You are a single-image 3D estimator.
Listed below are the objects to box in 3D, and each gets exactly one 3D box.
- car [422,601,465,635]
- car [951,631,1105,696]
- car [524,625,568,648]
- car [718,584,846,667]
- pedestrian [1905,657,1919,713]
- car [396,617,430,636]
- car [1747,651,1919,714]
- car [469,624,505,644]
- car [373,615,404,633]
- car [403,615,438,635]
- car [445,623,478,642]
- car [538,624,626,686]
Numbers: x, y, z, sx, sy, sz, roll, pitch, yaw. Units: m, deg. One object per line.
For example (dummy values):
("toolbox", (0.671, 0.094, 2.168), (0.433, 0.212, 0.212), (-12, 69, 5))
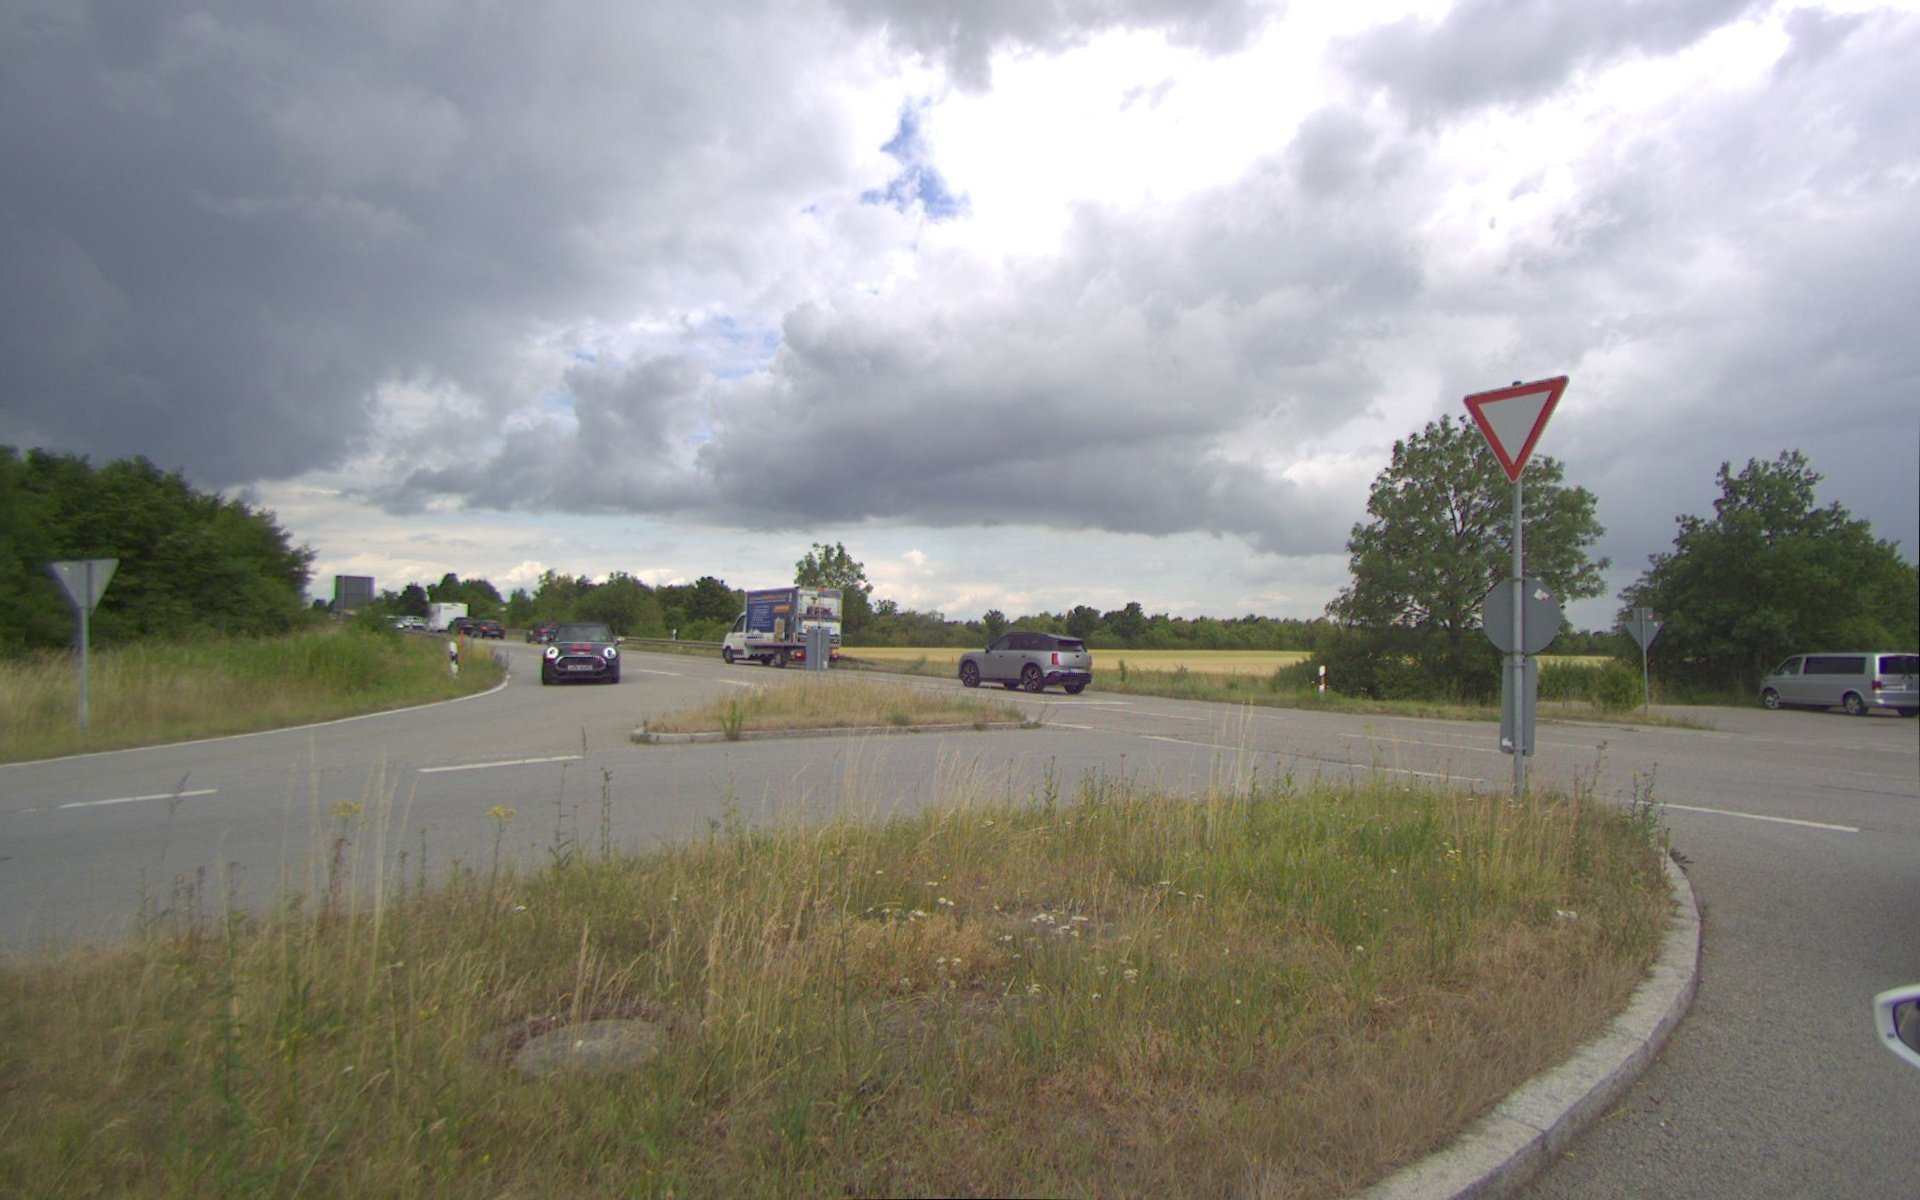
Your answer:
("car", (-48.724, 1.747, 94.673), (2.321, 3.069, 6.485), (2, -3, -38))
("car", (1.867, 1.766, 28.549), (1.984, 1.644, 4.213), (6, -5, -39))
("car", (-28.765, 2.530, 69.802), (1.832, 1.545, 3.957), (2, -3, -38))
("car", (-7.464, 1.080, 41.446), (2.321, 3.068, 6.487), (5, -5, -38))
("pedestrian", (30.205, 2.656, 31.483), (0.724, 1.745, 0.697), (2, -2, -31))
("car", (-58.298, 2.840, 107.012), (2.321, 1.947, 4.821), (2, -3, -39))
("car", (28.941, 2.641, 33.139), (2.071, 1.910, 5.104), (0, -3, 2))
("car", (-38.134, 2.721, 80.930), (1.832, 1.545, 3.957), (2, -3, -38))
("car", (-64.835, 2.700, 113.893), (2.321, 1.947, 4.822), (2, -3, -38))
("car", (-54.658, 2.568, 101.689), (2.321, 1.947, 4.822), (2, -3, -38))
("car", (-43.317, 2.817, 87.294), (1.832, 1.545, 3.958), (2, -3, -37))
("car", (-9.197, 1.290, 24.680), (1.647, 1.370, 4.156), (0, -2, -16))
